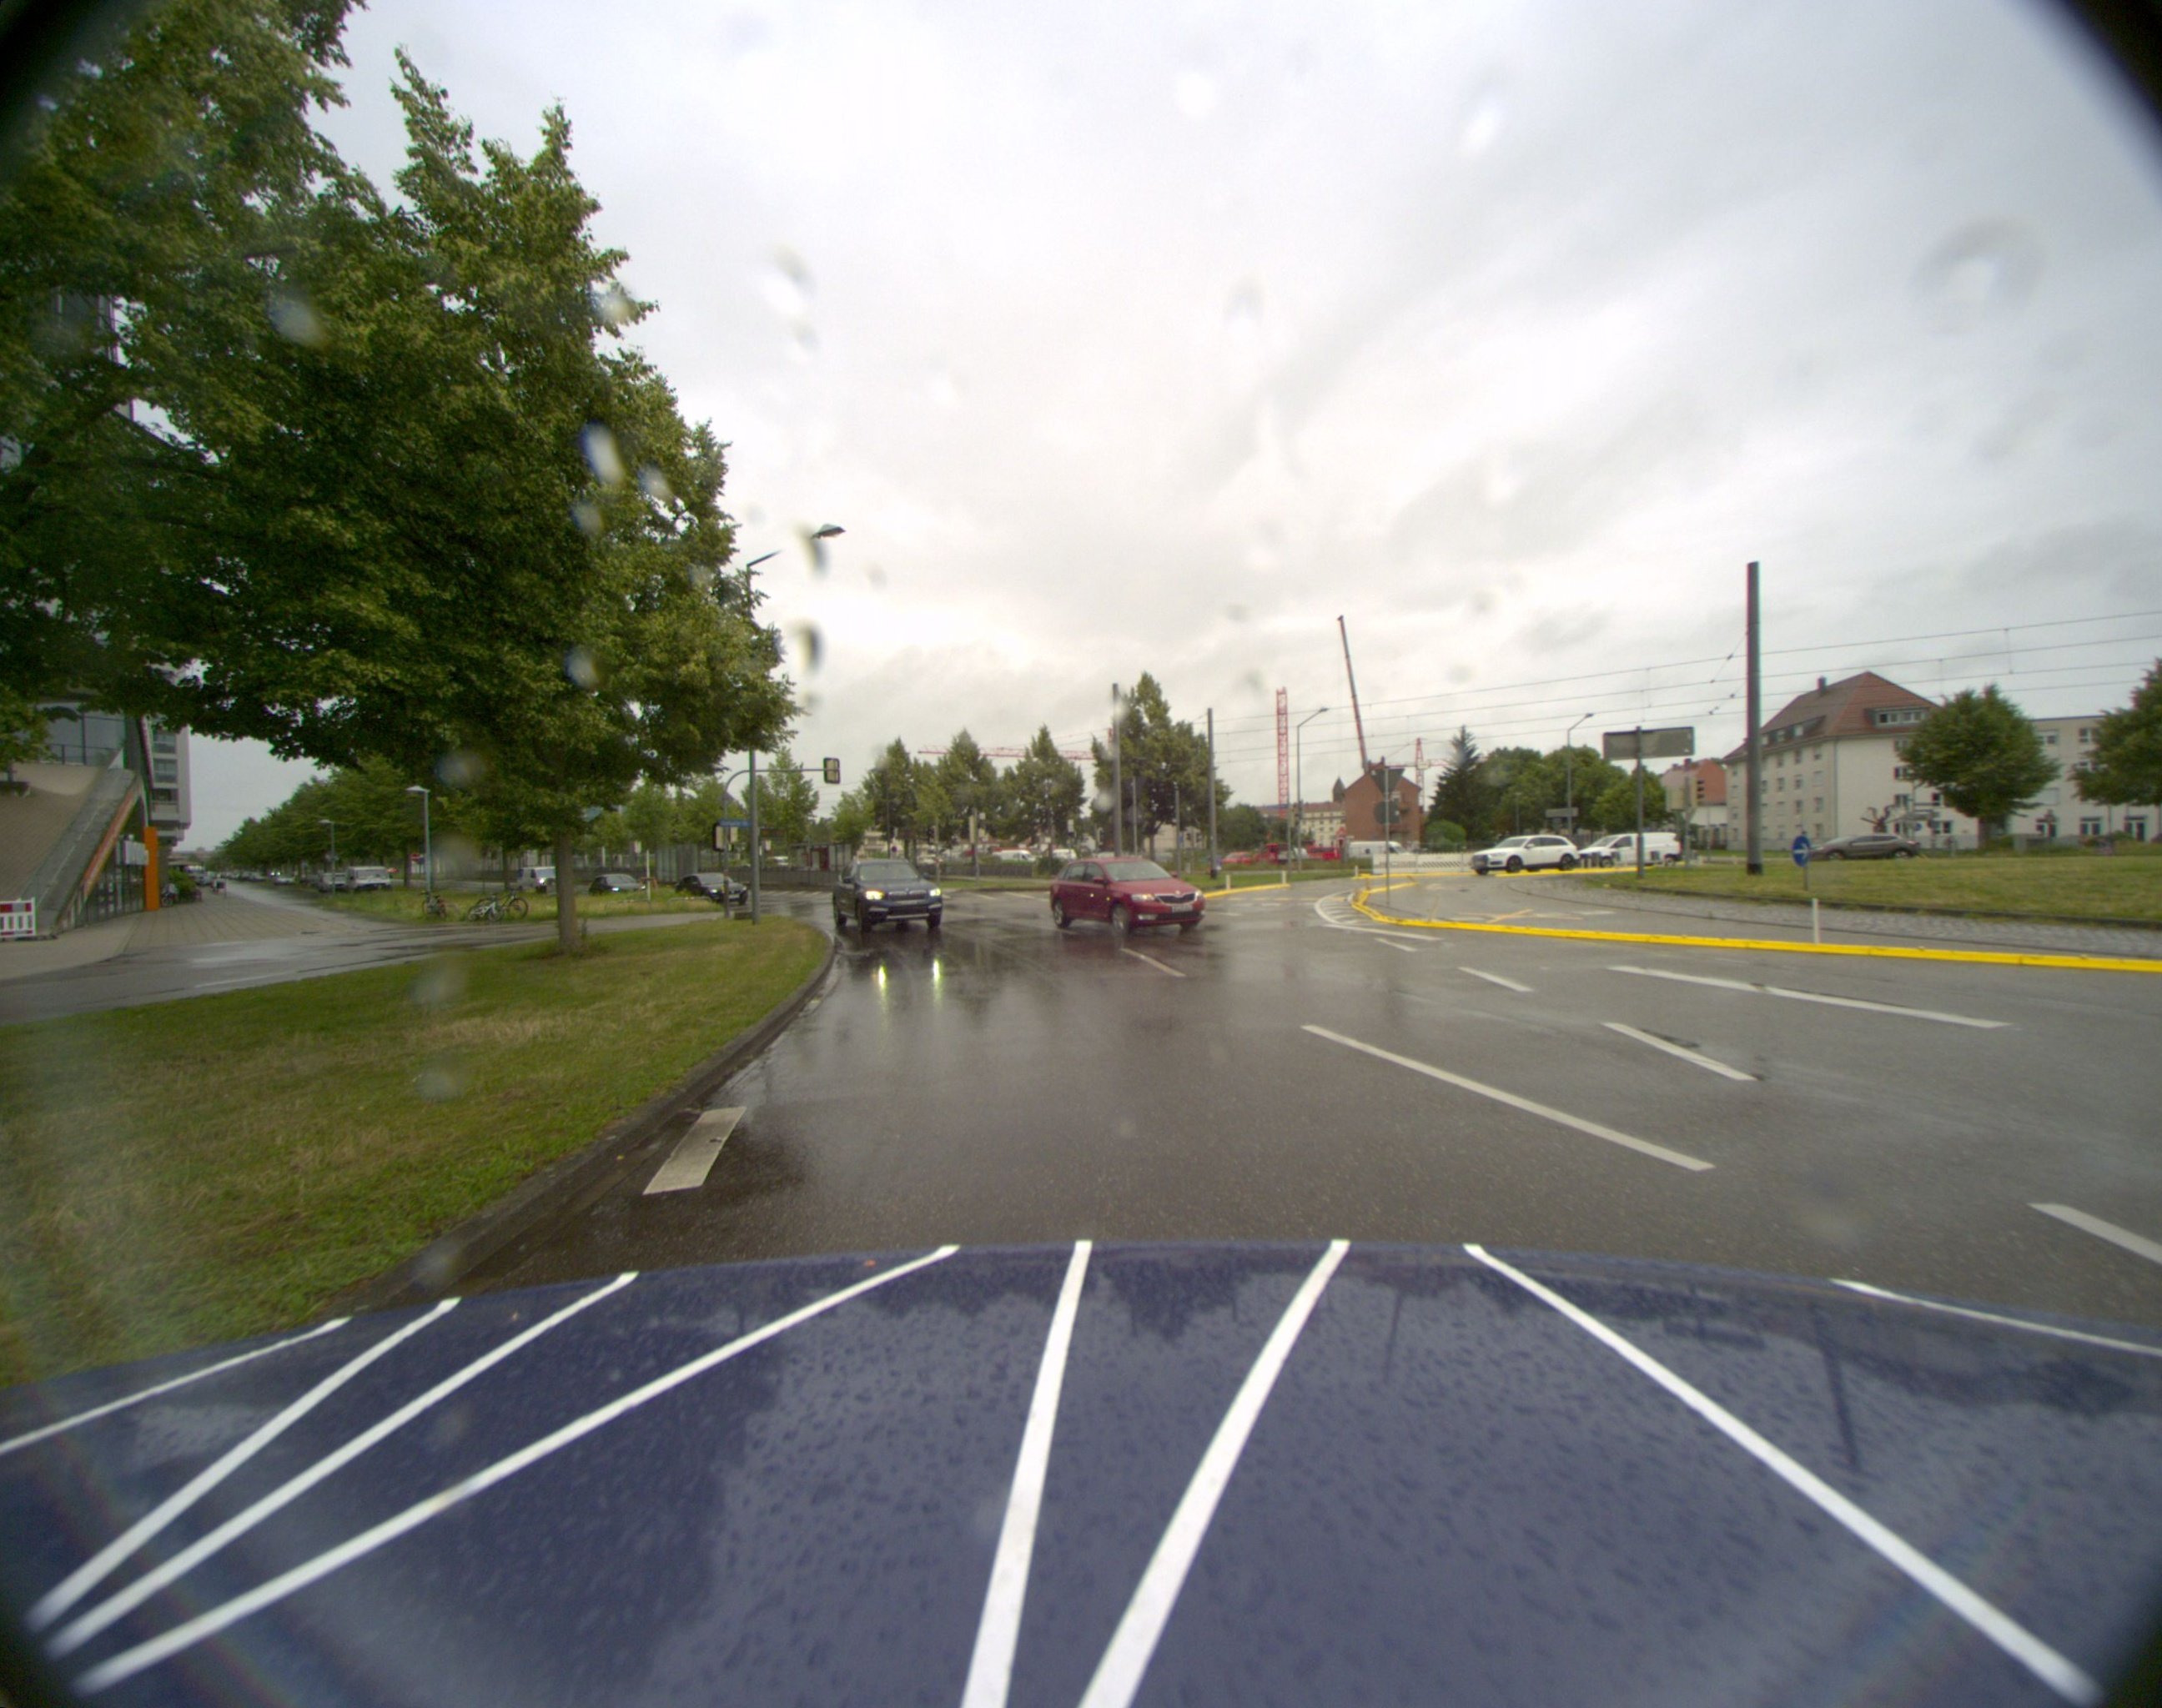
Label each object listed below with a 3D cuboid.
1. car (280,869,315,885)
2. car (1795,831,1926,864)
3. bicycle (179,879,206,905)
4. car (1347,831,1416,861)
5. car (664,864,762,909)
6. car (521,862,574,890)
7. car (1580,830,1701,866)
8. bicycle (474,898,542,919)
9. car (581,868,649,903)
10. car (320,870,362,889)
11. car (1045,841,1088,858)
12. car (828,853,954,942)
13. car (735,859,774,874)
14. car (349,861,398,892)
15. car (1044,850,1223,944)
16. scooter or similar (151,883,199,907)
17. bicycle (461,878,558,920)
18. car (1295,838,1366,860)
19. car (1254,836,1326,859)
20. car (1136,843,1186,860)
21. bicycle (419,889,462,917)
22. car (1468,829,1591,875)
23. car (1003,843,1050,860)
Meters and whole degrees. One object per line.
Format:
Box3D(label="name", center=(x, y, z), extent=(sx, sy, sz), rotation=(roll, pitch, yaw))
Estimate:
Box3D(label="car", center=(-84.786, 2.516, 82.194), extent=(3.989, 1.543, 2.003), rotation=(-1, 3, 36))
Box3D(label="car", center=(40.411, -0.347, 39.524), extent=(4.540, 1.484, 1.613), rotation=(-2, 3, 17))
Box3D(label="bicycle", center=(-51.171, 2.183, 43.794), extent=(2.689, 1.340, 0.884), rotation=(-1, 3, 41))
Box3D(label="car", center=(31.452, -0.812, 79.692), extent=(2.360, 2.923, 6.410), rotation=(-5, 3, -38))
Box3D(label="car", center=(-16.218, 1.381, 33.432), extent=(4.370, 1.737, 1.921), rotation=(-1, 3, 36))
Box3D(label="car", center=(-34.379, 1.380, 48.896), extent=(3.988, 1.639, 1.792), rotation=(-1, 3, 41))
Box3D(label="car", center=(29.718, -0.342, 40.439), extent=(5.021, 1.634, 1.831), rotation=(-3, 3, 2))
Box3D(label="bicycle", center=(-18.220, 1.739, 24.178), extent=(1.803, 0.555, 0.321), rotation=(-2, 1, -7))
Box3D(label="car", center=(-24.367, 1.595, 39.682), extent=(3.988, 1.639, 1.792), rotation=(-1, 3, 41))
Box3D(label="car", center=(-67.370, 2.332, 69.184), extent=(3.989, 1.543, 2.003), rotation=(-1, 3, 36))
Box3D(label="car", center=(-2.414, -0.743, 123.344), extent=(6.817, 2.463, 2.505), rotation=(-1, 3, 38))
Box3D(label="car", center=(-4.782, 0.926, 18.638), extent=(1.920, 1.737, 4.372), rotation=(-4, 3, -28))
Box3D(label="car", center=(-34.456, 1.310, 80.096), extent=(4.214, 1.478, 1.855), rotation=(-1, 3, 38))
Box3D(label="car", center=(-54.567, 1.710, 58.549), extent=(5.082, 2.190, 2.089), rotation=(-1, 3, 41))
Box3D(label="car", center=(0.867, 0.723, 15.310), extent=(1.791, 1.451, 4.306), rotation=(-4, 3, -23))
Box3D(label="scooter or similar", center=(-48.714, 2.176, 40.886), extent=(0.813, 1.093, 2.607), rotation=(-4, 3, -31))
Box3D(label="bicycle", center=(-18.382, 1.441, 24.477), extent=(2.525, 1.182, 0.553), rotation=(-2, 1, -7))
Box3D(label="car", center=(24.941, -0.444, 76.196), extent=(2.361, 2.002, 6.411), rotation=(-2, 1, -38))
Box3D(label="car", center=(19.748, -0.579, 72.024), extent=(2.360, 2.003, 6.410), rotation=(-5, 3, -38))
Box3D(label="car", center=(11.805, -0.359, 112.515), extent=(6.819, 2.462, 2.361), rotation=(-1, 1, 28))
Box3D(label="bicycle", center=(-21.203, 1.598, 25.146), extent=(2.158, 0.842, 0.638), rotation=(-2, 1, 39))
Box3D(label="car", center=(19.984, -0.114, 33.891), extent=(4.868, 1.734, 1.775), rotation=(-3, 3, -14))
Box3D(label="car", center=(-8.666, -0.410, 119.552), extent=(7.617, 2.463, 2.361), rotation=(-1, 3, 38))
